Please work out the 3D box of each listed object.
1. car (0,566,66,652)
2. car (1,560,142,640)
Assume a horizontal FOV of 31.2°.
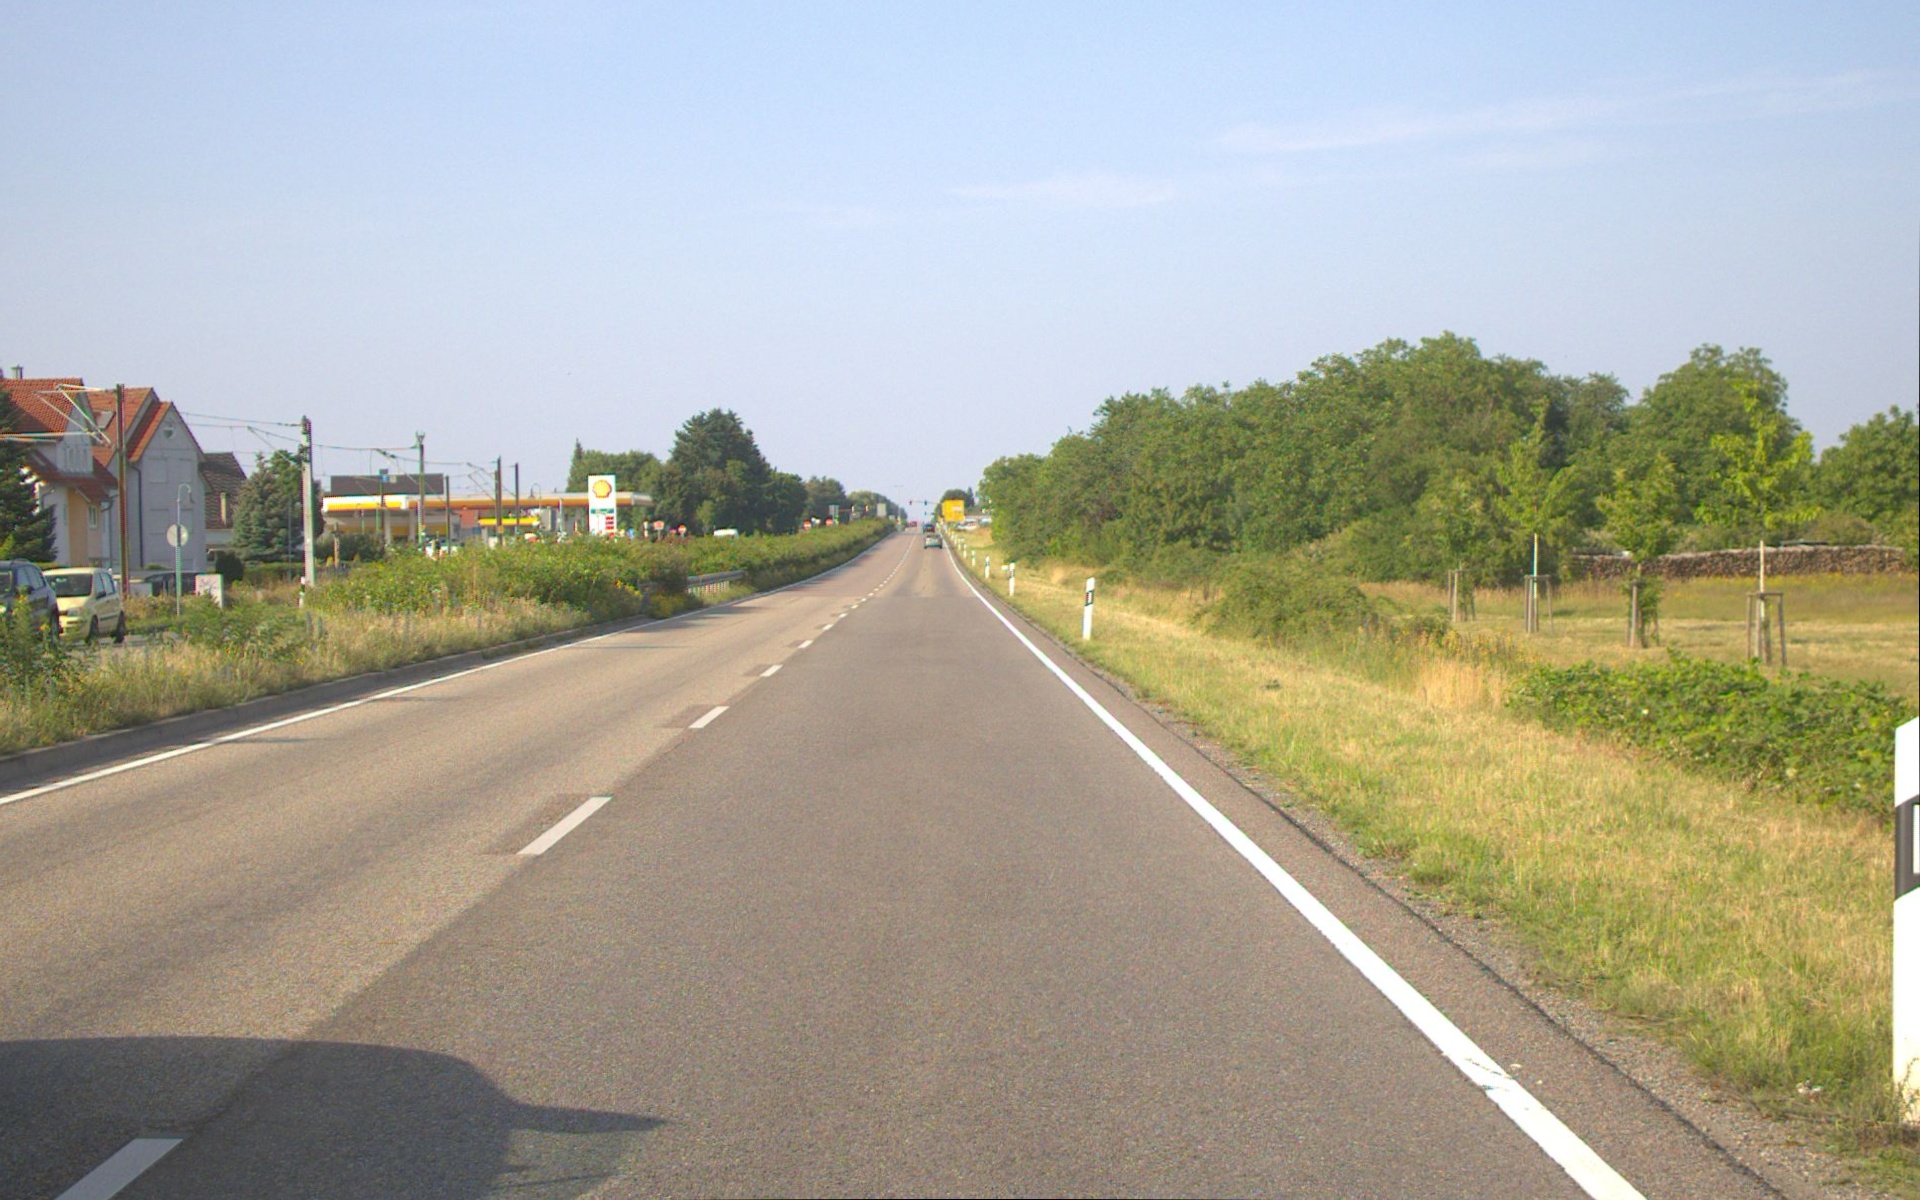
[{"bbox_3d":[-17.070,0.165,60.224,1.660,1.426,4.326,-3,1,-1],"label":"car"},{"bbox_3d":[-17.498,-0.022,67.897,1.660,1.426,4.326,-3,1,-1],"label":"car"}]
